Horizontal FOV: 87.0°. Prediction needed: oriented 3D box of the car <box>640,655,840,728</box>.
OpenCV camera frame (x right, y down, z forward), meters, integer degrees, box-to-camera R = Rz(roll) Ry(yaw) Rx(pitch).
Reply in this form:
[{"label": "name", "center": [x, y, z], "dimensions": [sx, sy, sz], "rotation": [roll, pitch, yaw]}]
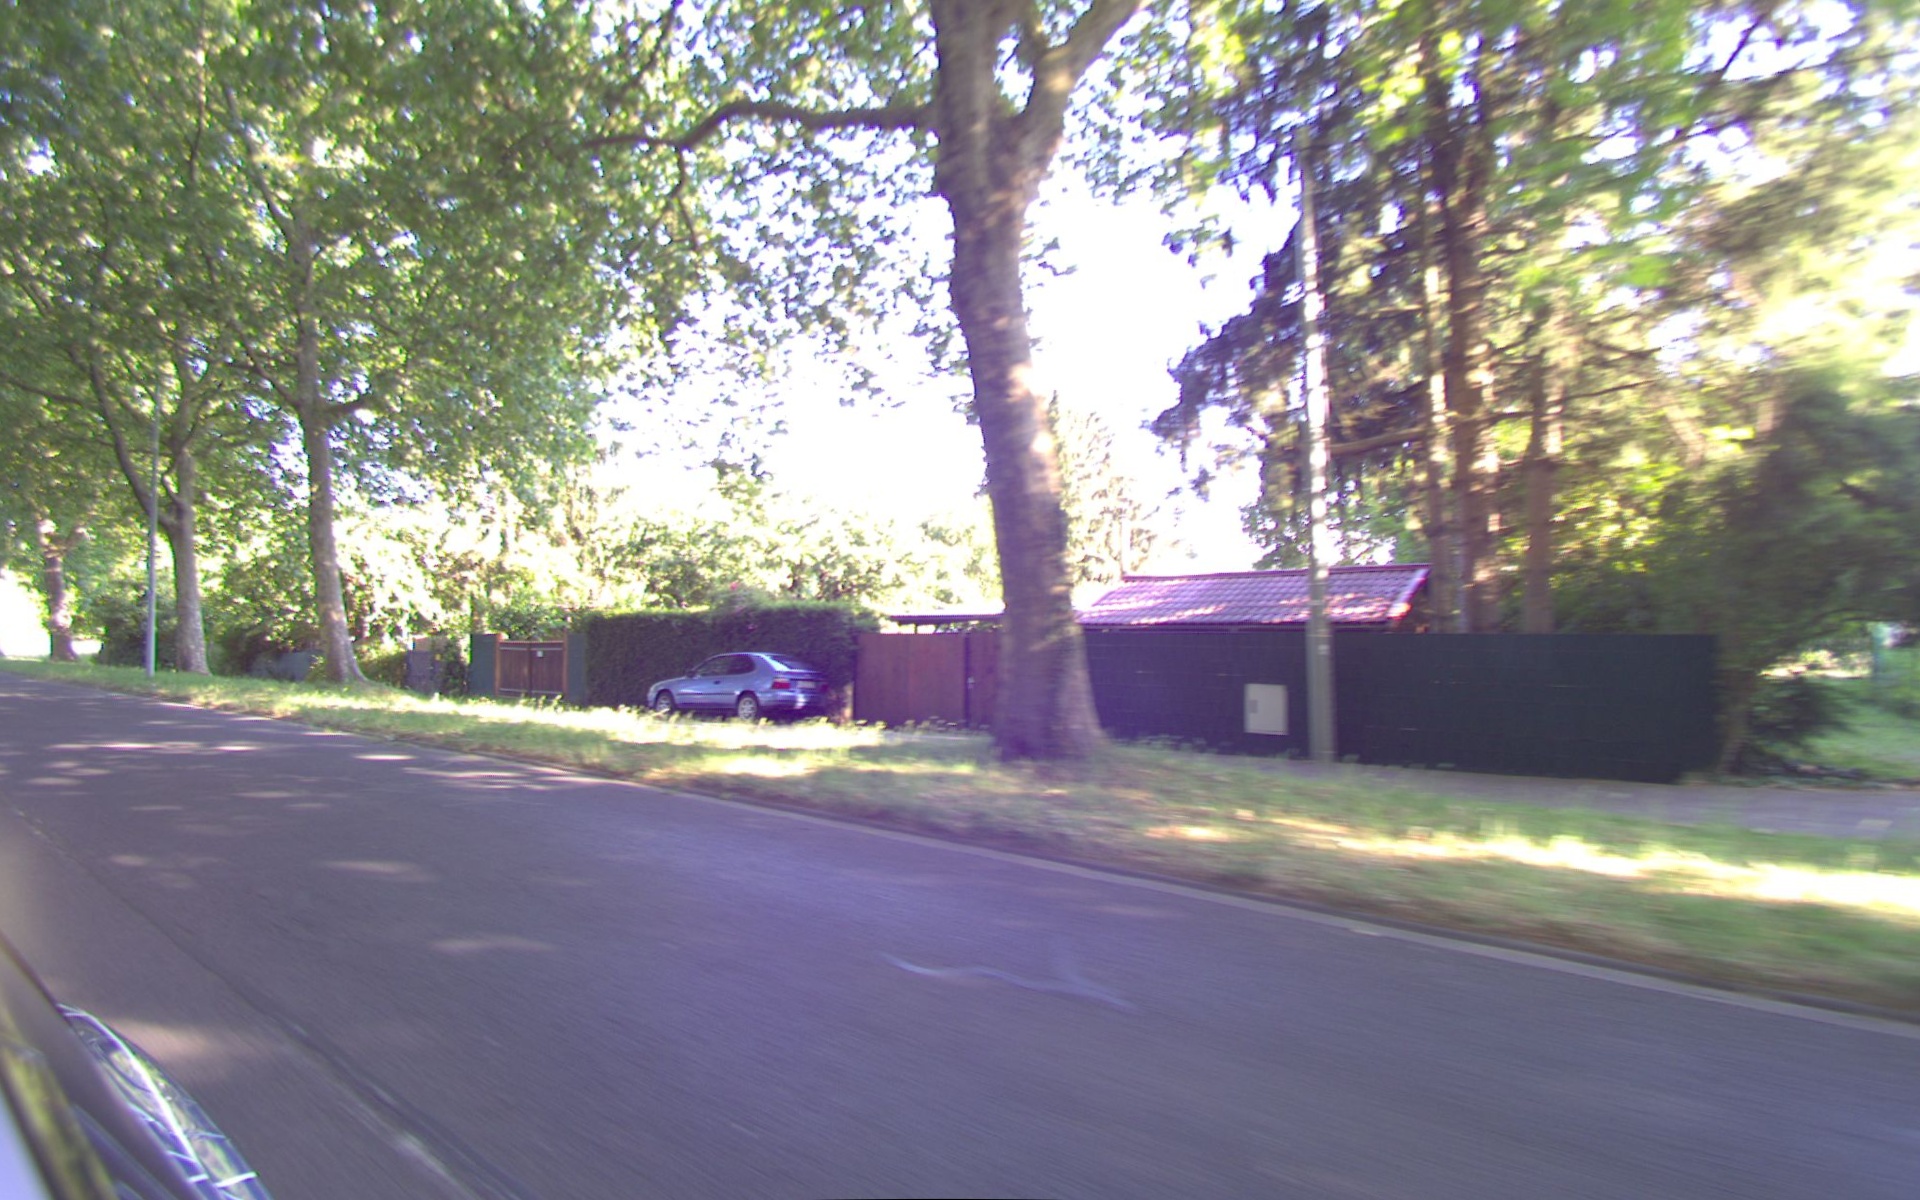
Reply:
[{"label": "car", "center": [-4.464, 1.785, 20.314], "dimensions": [3.993, 1.314, 1.736], "rotation": [-3, -4, 37]}]
